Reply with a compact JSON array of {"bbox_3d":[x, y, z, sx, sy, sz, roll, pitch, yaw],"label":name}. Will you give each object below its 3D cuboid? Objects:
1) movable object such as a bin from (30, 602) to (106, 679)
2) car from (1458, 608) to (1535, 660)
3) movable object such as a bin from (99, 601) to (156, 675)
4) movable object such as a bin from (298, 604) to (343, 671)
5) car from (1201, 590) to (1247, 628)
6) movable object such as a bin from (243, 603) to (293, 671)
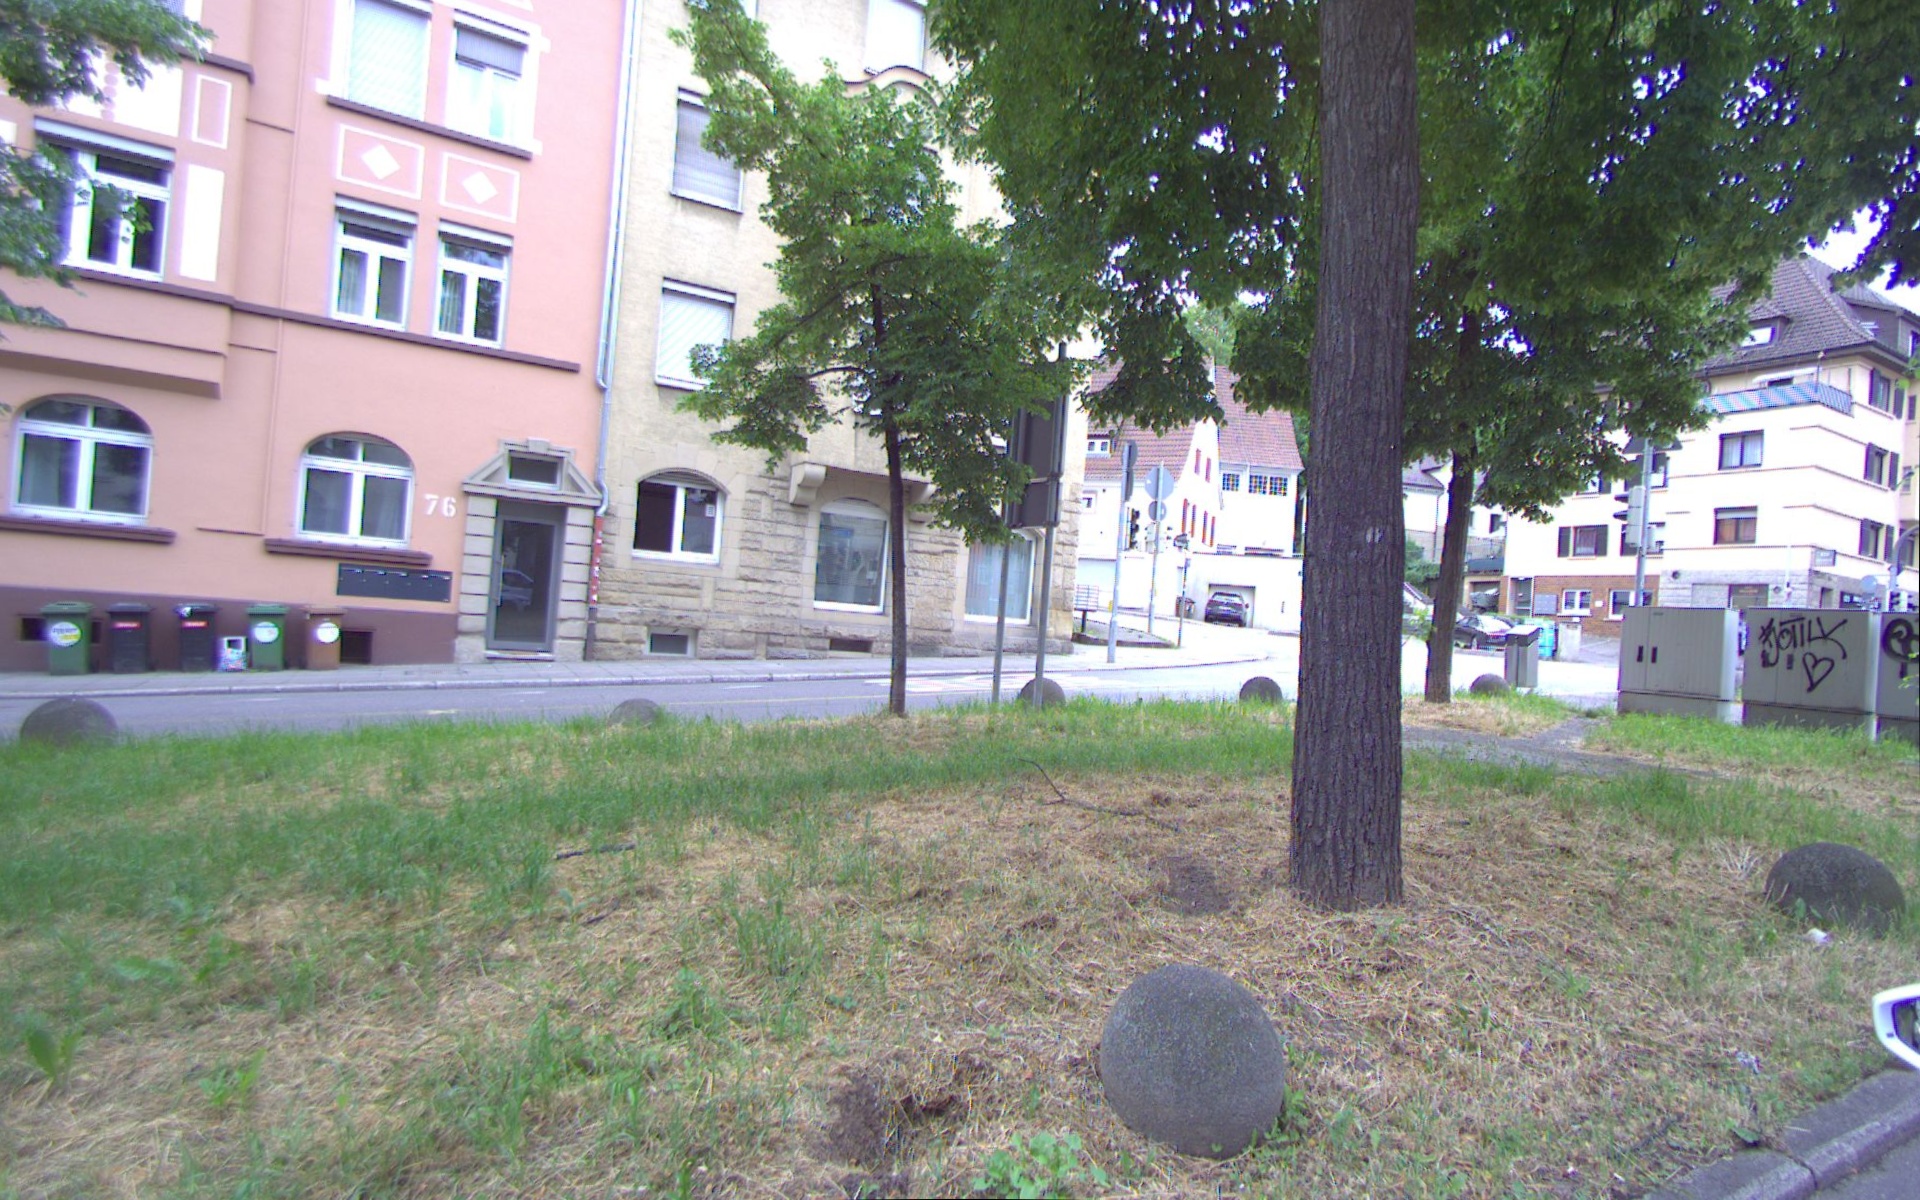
[{"bbox_3d":[-11.658,0.522,13.148,0.611,0.961,0.613,2,0,-31],"label":"movable object such as a bin"},{"bbox_3d":[21.898,1.330,41.139,1.832,1.619,3.519,2,6,13],"label":"car"},{"bbox_3d":[-11.148,0.500,13.461,0.527,0.958,0.576,2,0,-36],"label":"movable object such as a bin"},{"bbox_3d":[-9.280,0.537,14.572,0.510,0.934,0.752,2,0,-34],"label":"movable object such as a bin"},{"bbox_3d":[11.742,0.368,44.807,1.638,1.424,3.058,7,3,11],"label":"car"},{"bbox_3d":[-9.803,0.520,14.252,0.554,0.934,0.649,2,0,-34],"label":"movable object such as a bin"}]
